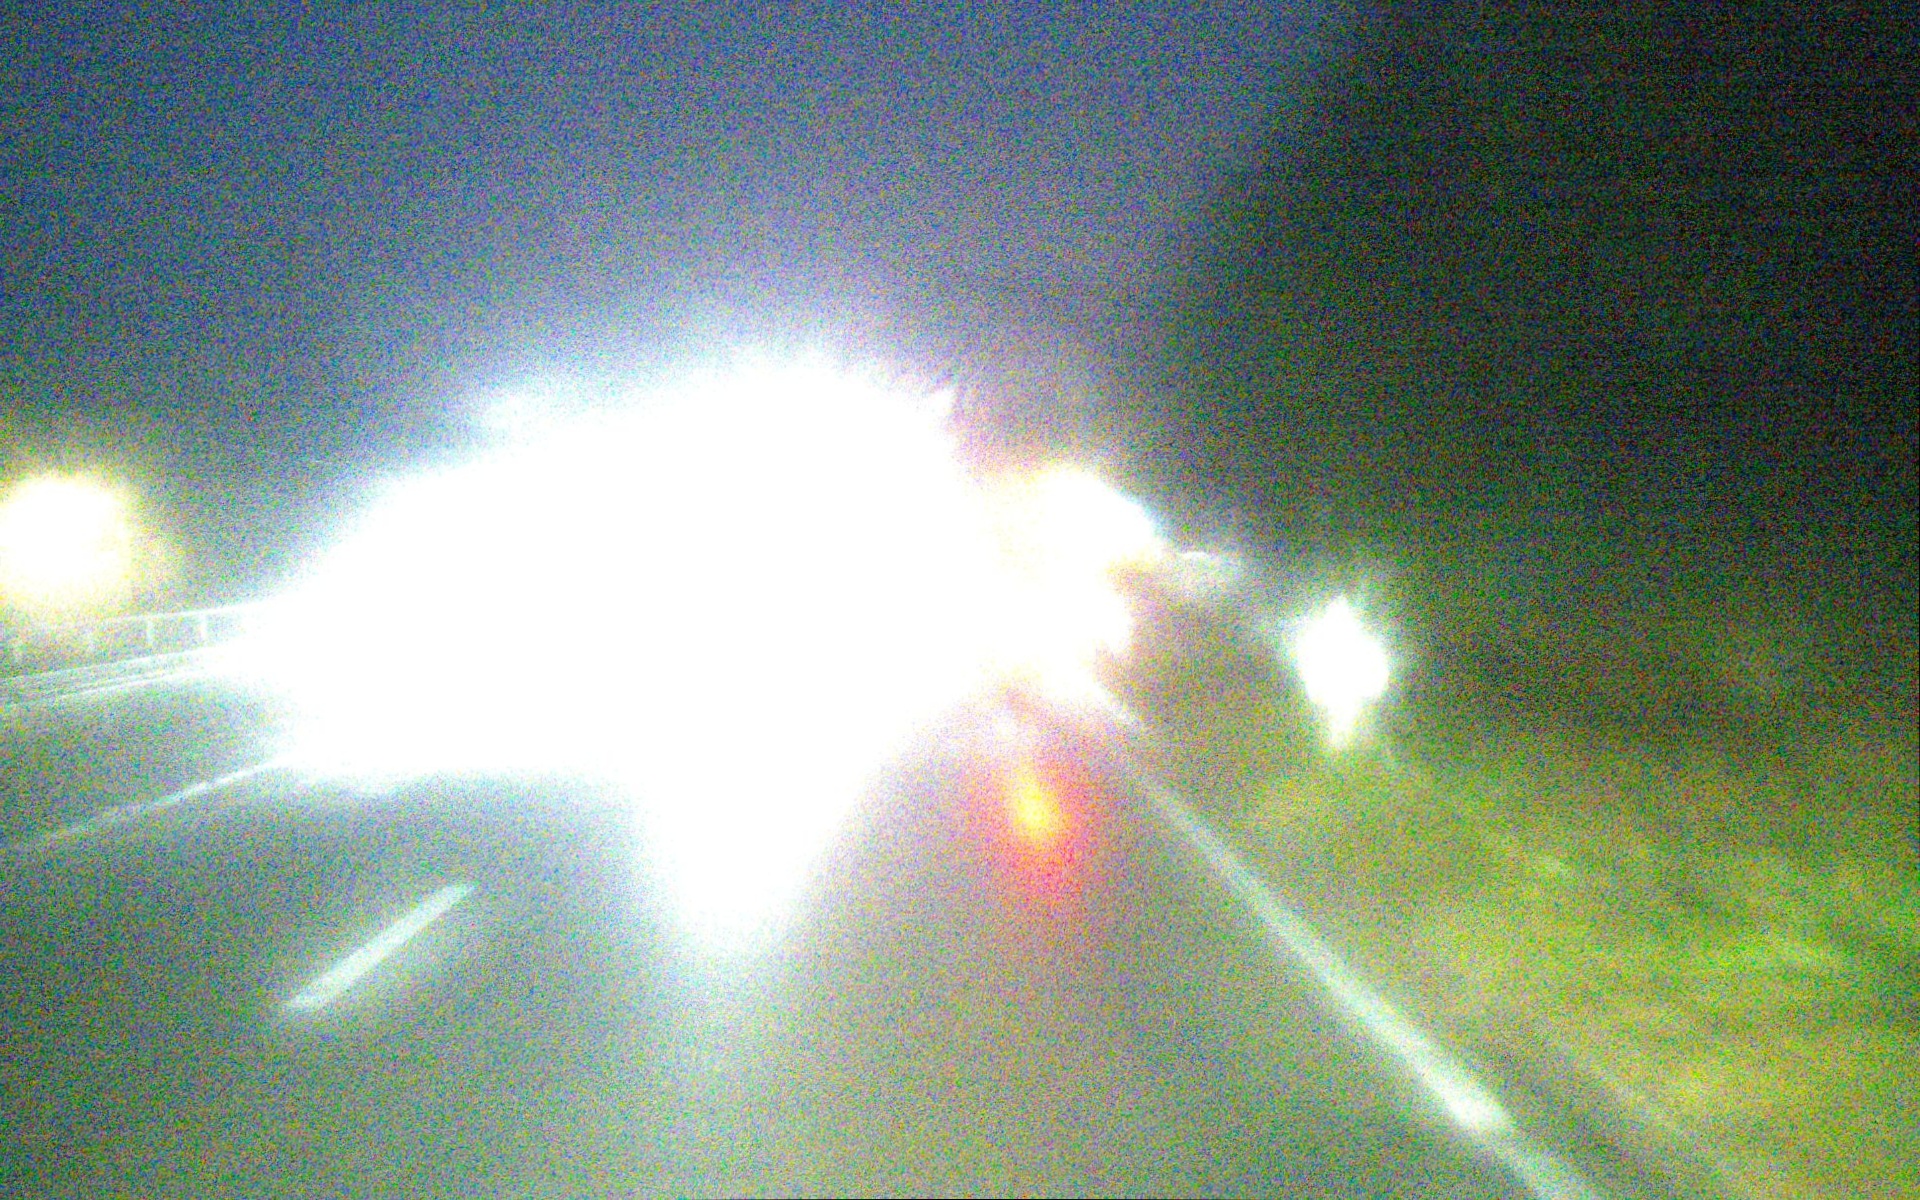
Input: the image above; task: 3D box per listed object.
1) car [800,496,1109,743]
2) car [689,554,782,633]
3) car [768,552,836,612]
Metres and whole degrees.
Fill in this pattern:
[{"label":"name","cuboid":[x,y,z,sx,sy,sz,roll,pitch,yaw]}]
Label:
[{"label":"car","cuboid":[-0.083,0.135,29.858,2.457,1.952,4.912,0,0,-1]},{"label":"car","cuboid":[-4.704,-0.158,72.452,1.795,1.532,3.801,-2,1,-2]},{"label":"car","cuboid":[-4.787,-0.564,104.711,1.855,1.677,4.326,-2,2,-1]}]
